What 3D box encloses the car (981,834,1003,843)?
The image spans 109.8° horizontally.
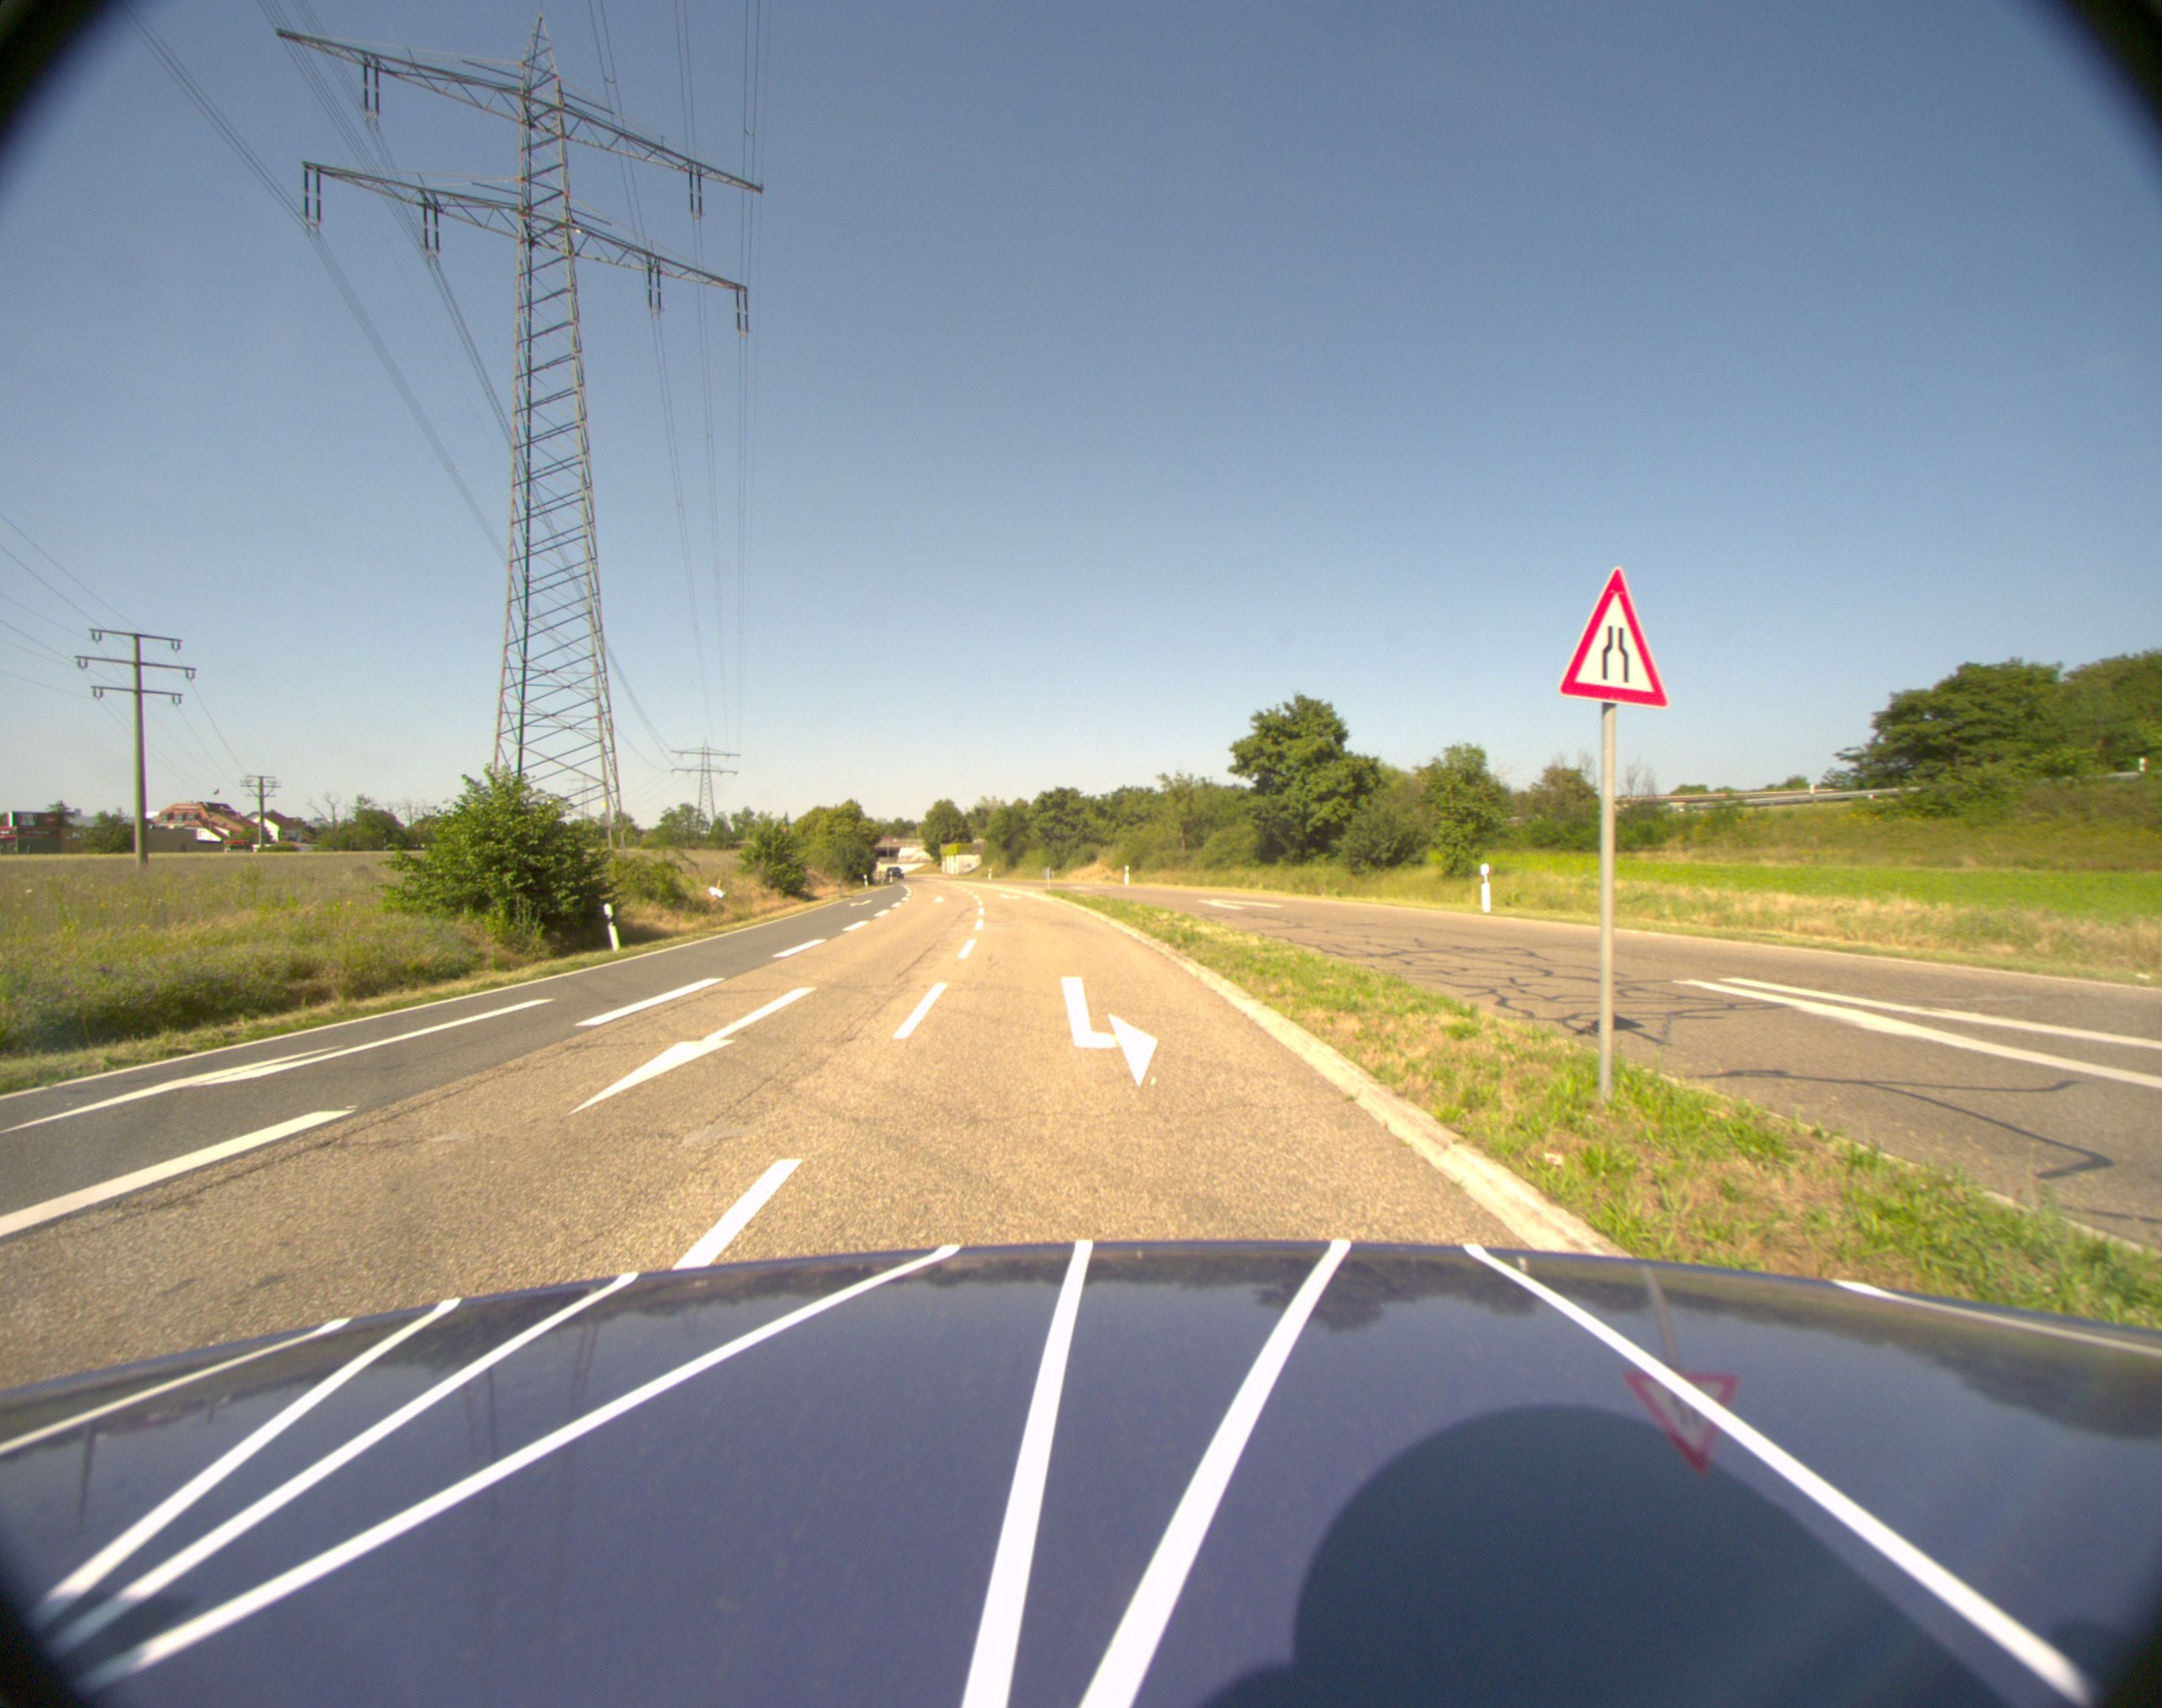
[{"bbox_3d":[-19.849,-3.453,169.175,4.331,1.889,1.747,-2,1,14],"label":"car"}]

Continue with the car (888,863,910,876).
[{"bbox_3d":[-23.105,1.937,96.174,1.863,1.609,3.640,-2,0,-27],"label":"car"}]
